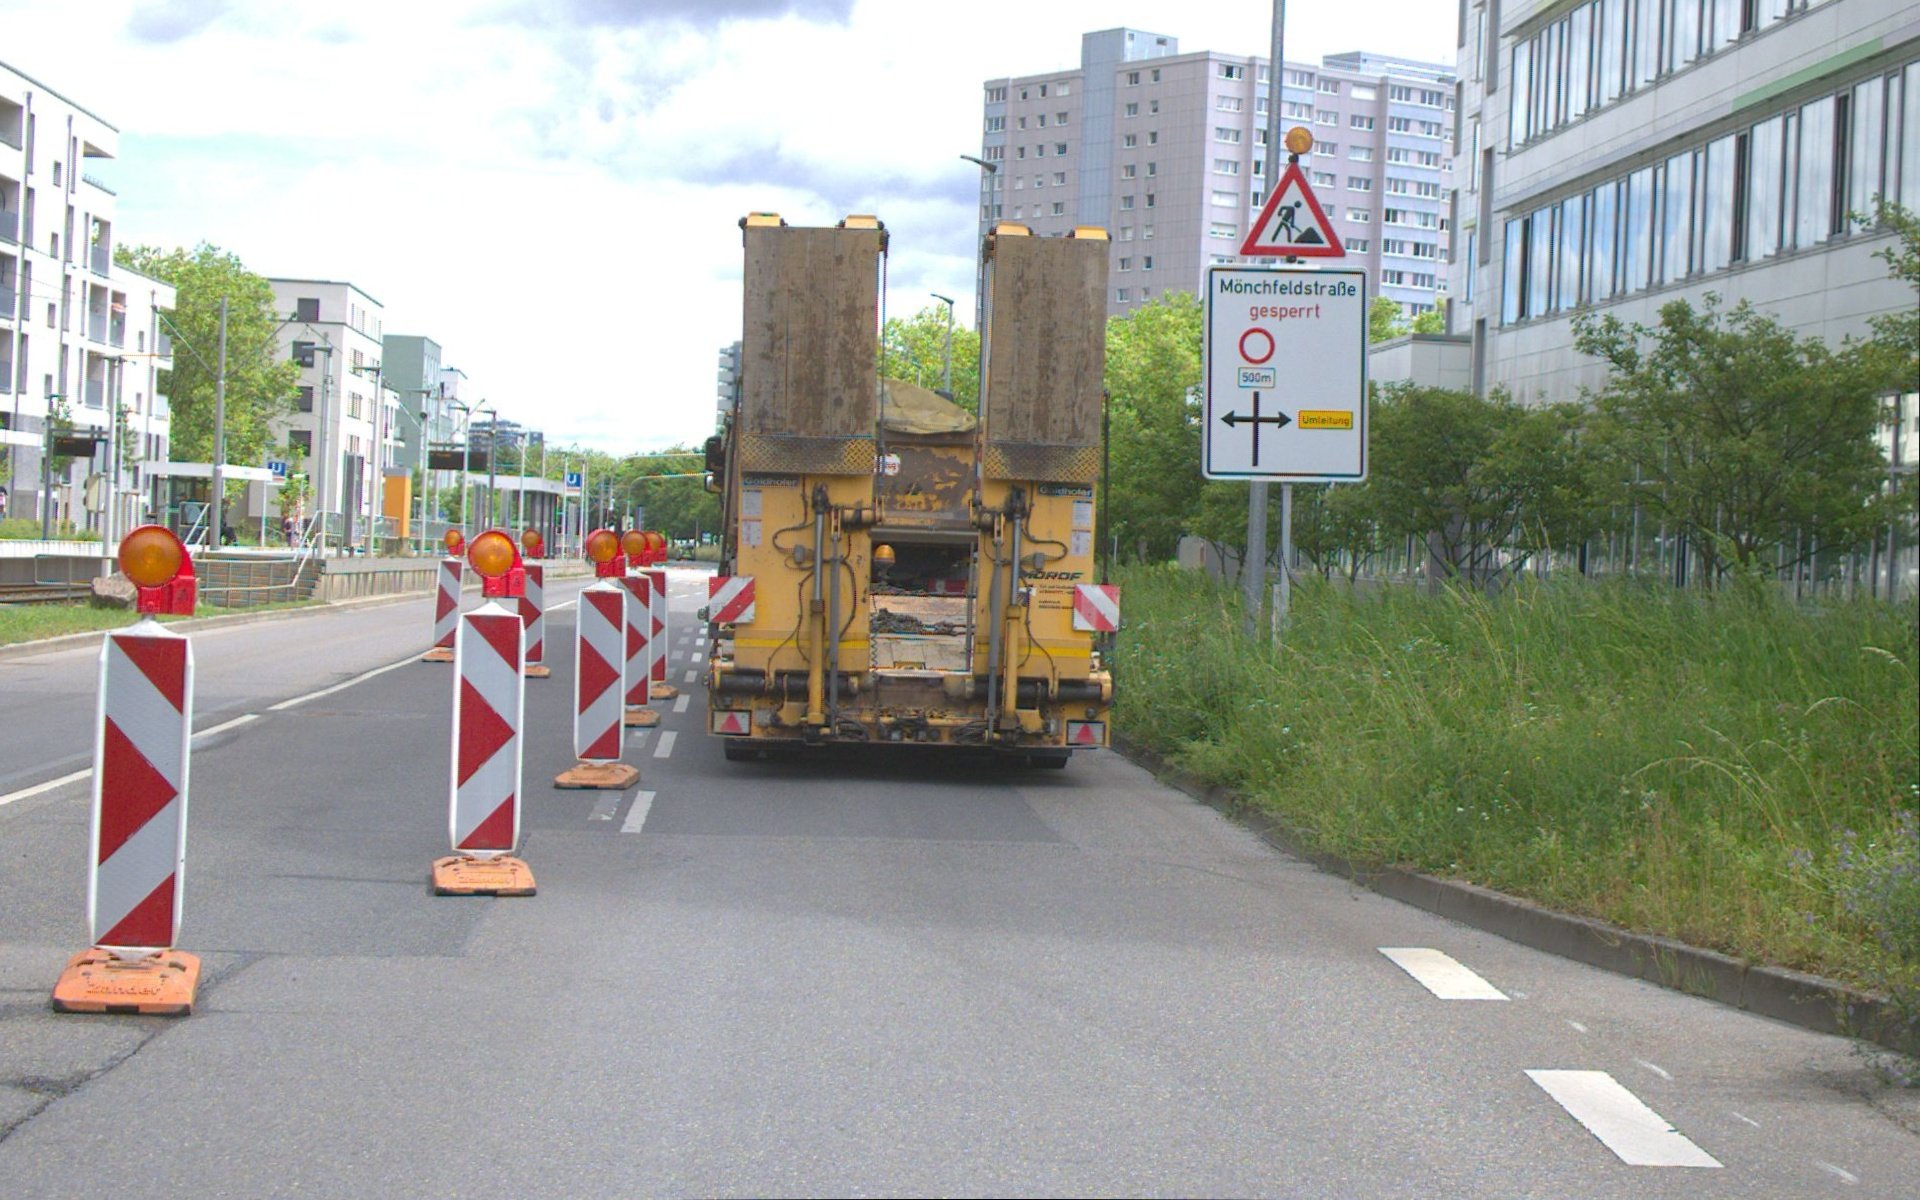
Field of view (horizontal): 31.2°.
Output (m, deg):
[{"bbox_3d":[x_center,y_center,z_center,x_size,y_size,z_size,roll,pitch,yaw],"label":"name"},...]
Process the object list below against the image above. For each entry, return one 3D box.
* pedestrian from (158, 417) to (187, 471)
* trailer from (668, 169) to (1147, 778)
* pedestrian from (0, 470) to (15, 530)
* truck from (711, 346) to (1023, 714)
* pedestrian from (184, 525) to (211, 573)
[{"bbox_3d":[-25.879,-5.126,112.960,0.677,1.719,0.488,4,-2,39],"label":"pedestrian"},{"bbox_3d":[-0.557,-0.844,26.334,2.729,3.546,11.255,3,1,-3],"label":"trailer"},{"bbox_3d":[-24.810,-2.586,88.516,0.741,1.526,0.547,3,1,1],"label":"pedestrian"},{"bbox_3d":[-1.054,-0.710,36.122,2.753,3.302,8.353,3,1,-3],"label":"truck"},{"bbox_3d":[-25.425,-1.703,114.661,0.488,1.591,0.676,3,1,32],"label":"pedestrian"}]
